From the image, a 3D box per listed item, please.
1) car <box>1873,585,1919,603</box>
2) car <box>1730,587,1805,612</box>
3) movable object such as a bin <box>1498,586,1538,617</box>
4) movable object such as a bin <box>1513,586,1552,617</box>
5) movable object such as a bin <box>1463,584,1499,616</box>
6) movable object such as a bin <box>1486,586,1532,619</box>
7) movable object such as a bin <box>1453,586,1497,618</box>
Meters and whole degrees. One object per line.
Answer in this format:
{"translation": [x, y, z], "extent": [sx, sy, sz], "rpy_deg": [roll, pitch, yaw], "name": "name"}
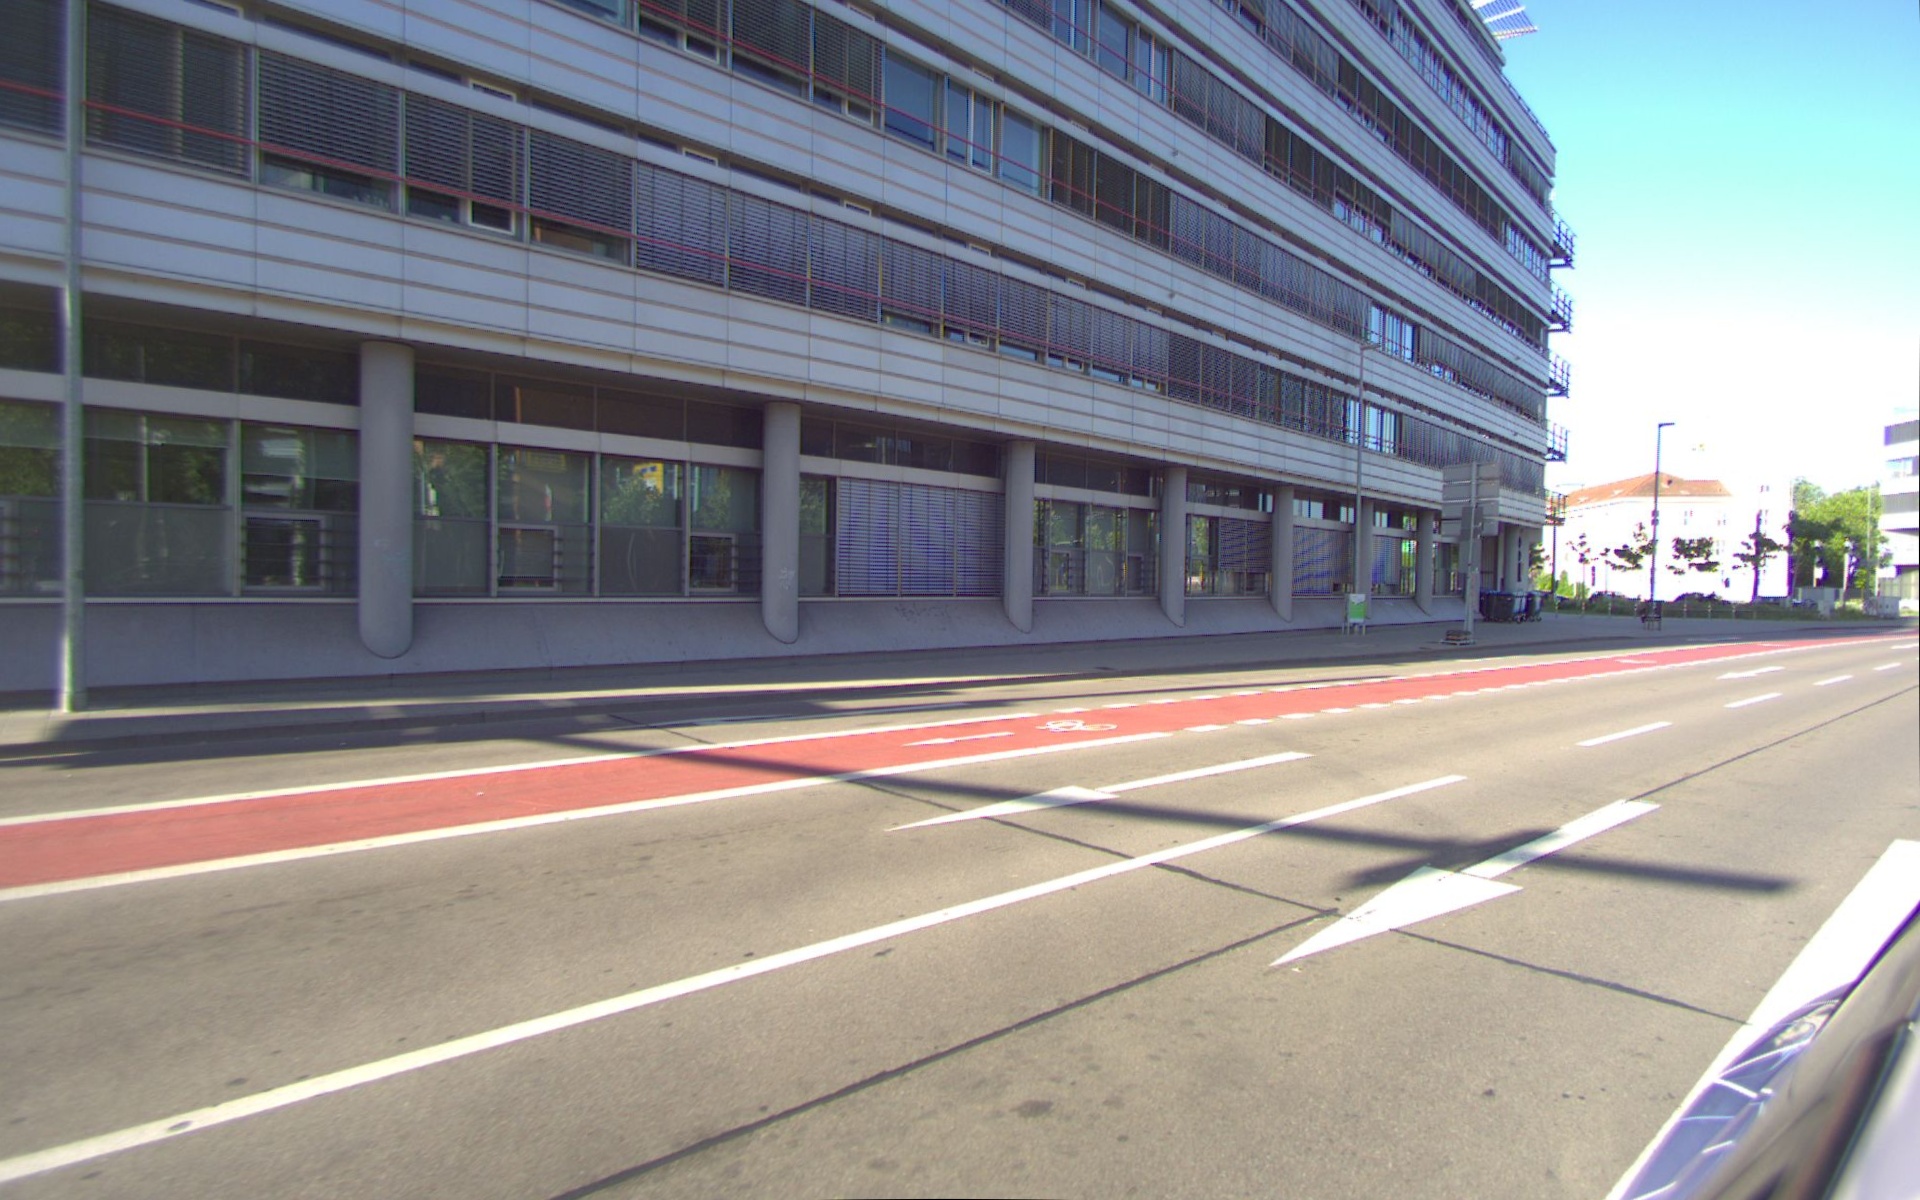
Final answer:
{"translation": [86.867, -0.555, 92.822], "extent": [1.645, 1.546, 4.362], "rpy_deg": [1, 2, -29], "name": "car"}
{"translation": [53.653, -0.036, 67.312], "extent": [1.706, 1.551, 3.805], "rpy_deg": [1, 1, -4], "name": "car"}
{"translation": [24.868, 0.043, 45.120], "extent": [1.305, 1.317, 1.173], "rpy_deg": [0, 1, -40], "name": "movable object such as a bin"}
{"translation": [25.959, 0.056, 45.875], "extent": [1.305, 1.317, 1.173], "rpy_deg": [0, 1, -40], "name": "movable object such as a bin"}
{"translation": [23.308, -0.030, 45.275], "extent": [1.088, 1.391, 1.109], "rpy_deg": [0, 1, -40], "name": "movable object such as a bin"}
{"translation": [23.018, 0.083, 42.439], "extent": [1.153, 1.317, 1.327], "rpy_deg": [0, 1, -40], "name": "movable object such as a bin"}
{"translation": [22.139, 0.067, 43.482], "extent": [1.153, 1.317, 1.327], "rpy_deg": [0, 1, -40], "name": "movable object such as a bin"}
